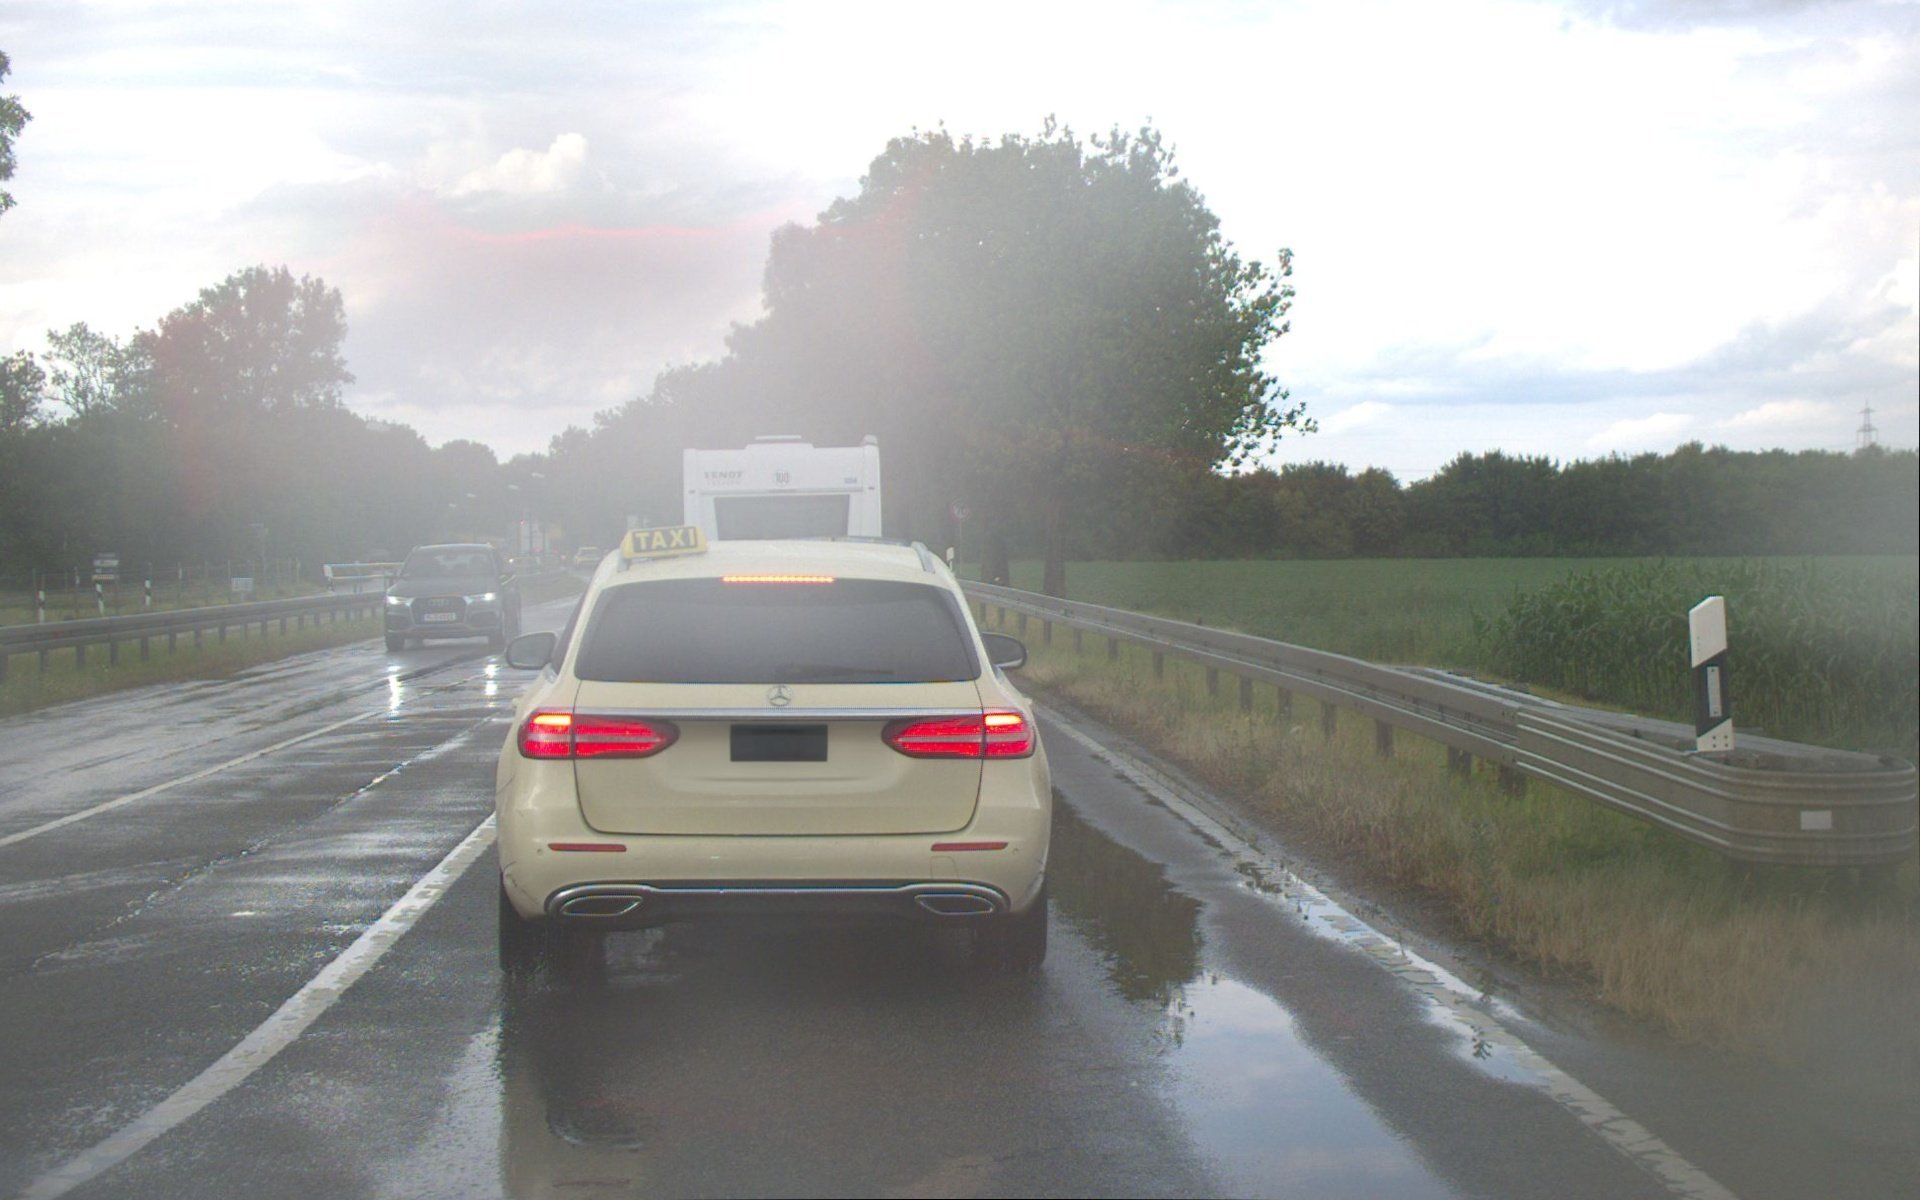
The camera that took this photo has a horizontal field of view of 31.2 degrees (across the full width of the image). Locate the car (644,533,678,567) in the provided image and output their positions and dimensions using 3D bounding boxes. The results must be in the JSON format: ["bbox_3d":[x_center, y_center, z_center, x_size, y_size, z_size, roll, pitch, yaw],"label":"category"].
[{"bbox_3d":[-17.583,-2.938,202.289,1.993,2.007,4.001,0,1,-5],"label":"car"}]

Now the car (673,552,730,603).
[{"bbox_3d":[-10.525,-0.927,139.833,1.993,2.007,4.001,0,1,-9],"label":"car"}]

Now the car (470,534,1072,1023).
[{"bbox_3d":[-0.623,0.506,12.524,1.825,1.480,4.145,0,1,-1],"label":"car"}]

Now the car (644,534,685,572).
[{"bbox_3d":[-16.241,-2.581,189.273,1.993,2.044,4.000,0,1,-2],"label":"car"}]

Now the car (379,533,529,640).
[{"bbox_3d":[-7.775,-0.243,53.145,1.768,1.518,4.142,-2,1,-2],"label":"car"}]

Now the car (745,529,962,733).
[{"bbox_3d":[-0.896,0.195,28.115,1.627,1.524,3.933,-1,1,-2],"label":"car"}]

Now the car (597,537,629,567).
[{"bbox_3d":[-23.670,-3.286,234.267,1.993,2.007,4.001,0,1,-8],"label":"car"}]

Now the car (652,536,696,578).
[{"bbox_3d":[-14.058,-2.125,168.886,1.993,2.007,4.001,0,1,-7],"label":"car"}]

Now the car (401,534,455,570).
[{"bbox_3d":[-25.104,-2.272,162.453,1.993,1.645,4.000,0,1,-1],"label":"car"}]

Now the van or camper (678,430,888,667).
[{"bbox_3d":[-2.134,-0.657,41.876,2.350,2.671,5.769,-1,1,-2],"label":"van or camper"}]
